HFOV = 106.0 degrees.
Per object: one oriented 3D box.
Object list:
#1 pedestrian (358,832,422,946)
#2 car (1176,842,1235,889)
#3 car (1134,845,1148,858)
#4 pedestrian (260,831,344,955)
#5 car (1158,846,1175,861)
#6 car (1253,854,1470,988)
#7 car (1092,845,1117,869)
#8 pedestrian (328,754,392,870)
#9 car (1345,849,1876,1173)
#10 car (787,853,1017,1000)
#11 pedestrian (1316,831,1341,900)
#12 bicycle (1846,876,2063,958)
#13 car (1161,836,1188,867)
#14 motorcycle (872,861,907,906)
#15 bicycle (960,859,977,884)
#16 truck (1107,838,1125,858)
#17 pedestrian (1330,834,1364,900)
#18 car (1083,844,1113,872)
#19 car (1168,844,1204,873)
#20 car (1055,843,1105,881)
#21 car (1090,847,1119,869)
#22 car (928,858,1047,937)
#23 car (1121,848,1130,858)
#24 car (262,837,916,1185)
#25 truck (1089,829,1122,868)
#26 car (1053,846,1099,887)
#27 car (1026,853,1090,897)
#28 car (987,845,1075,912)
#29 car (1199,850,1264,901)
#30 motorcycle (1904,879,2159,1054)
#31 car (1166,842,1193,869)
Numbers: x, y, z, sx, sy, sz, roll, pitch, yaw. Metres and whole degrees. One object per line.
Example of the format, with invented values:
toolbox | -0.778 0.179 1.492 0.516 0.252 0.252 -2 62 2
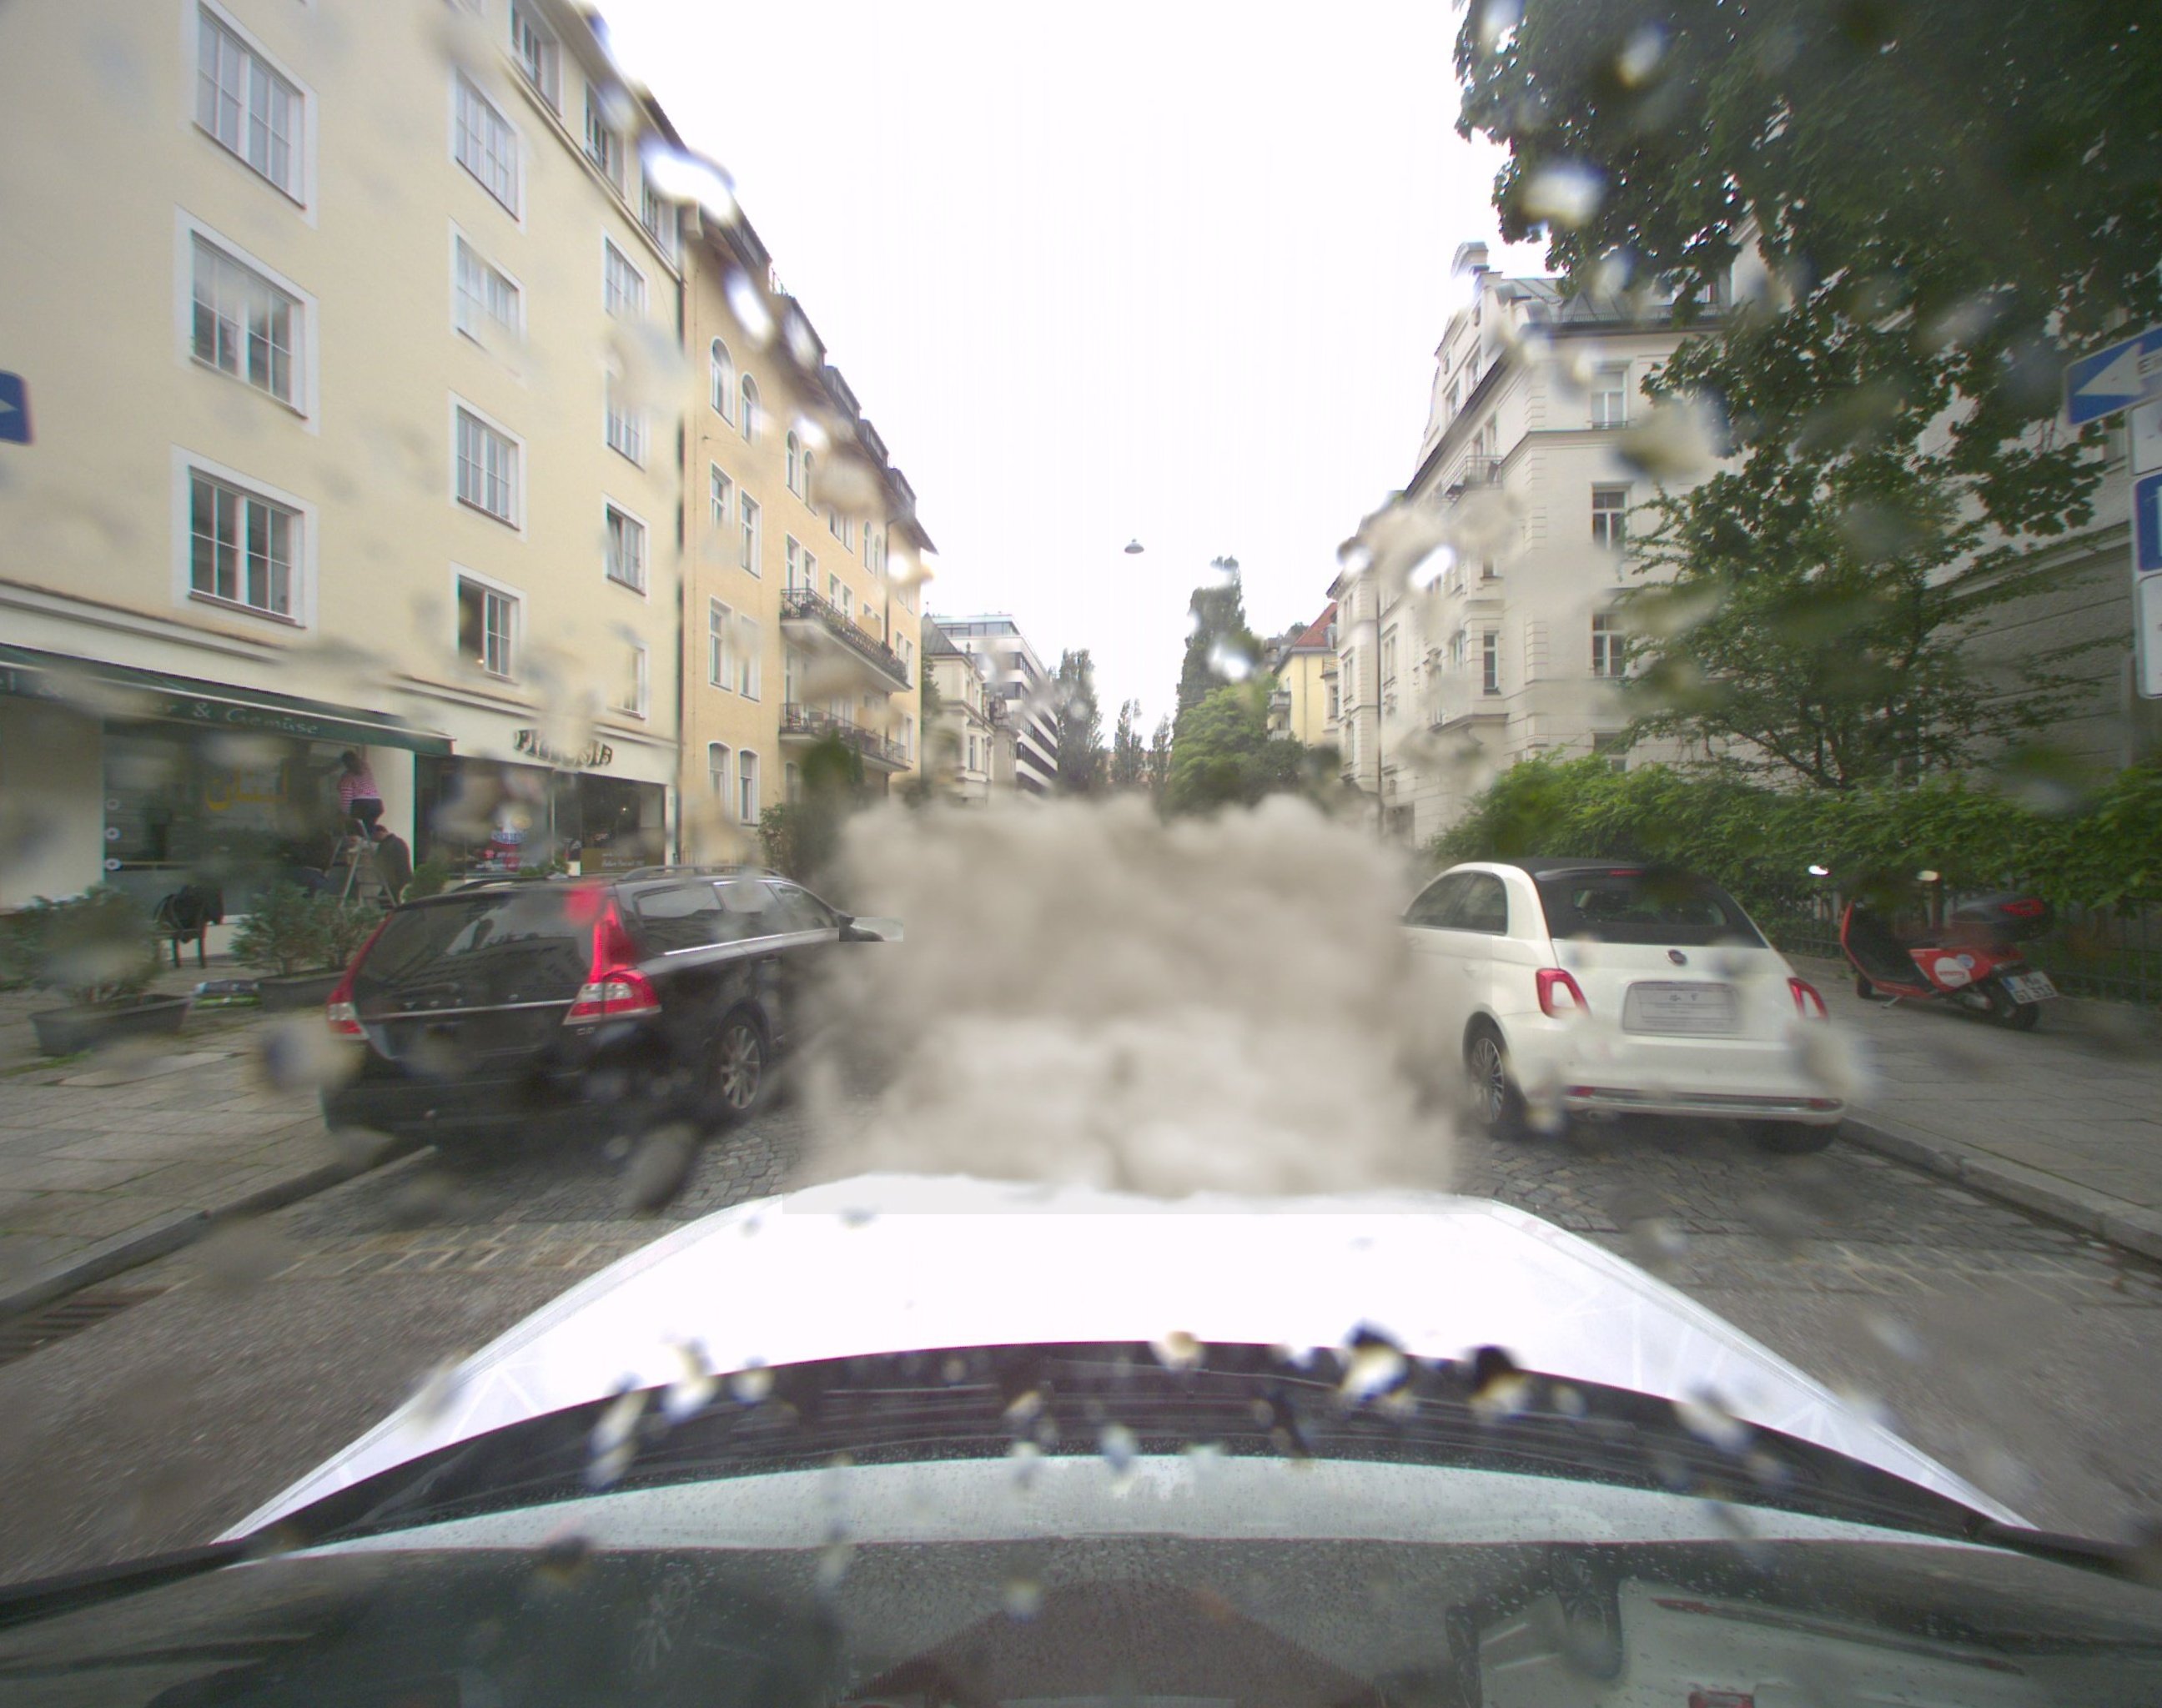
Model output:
pedestrian | -10.459 0.520 12.337 0.459 1.690 0.575 0 0 4
car | 4.721 0.466 31.493 1.866 1.673 5.497 0 -1 5
car | 8.858 -0.325 120.202 1.987 1.936 4.006 0 0 5
pedestrian | -10.632 0.517 11.129 0.519 1.642 0.630 0 0 4
car | 8.691 -0.034 82.752 1.593 1.486 3.482 0 0 4
car | 3.648 0.757 11.503 1.641 1.422 4.636 3 0 3
car | 1.845 0.209 63.337 1.886 1.751 4.171 -1 0 2
pedestrian | -10.383 -0.589 11.737 0.474 1.642 0.498 0 0 8
car | 3.039 0.723 5.654 1.494 1.471 3.801 -1 0 5
car | -2.126 0.790 11.090 1.766 1.536 4.546 -2 0 4
pedestrian | 6.769 0.307 22.282 0.572 1.850 0.684 -1 0 11
bicycle | 10.469 0.710 9.902 0.488 0.812 2.279 0 0 8
car | 8.057 -0.274 70.328 1.887 2.426 5.617 3 1 3
motorcycle | -5.292 0.802 22.618 0.489 1.194 1.581 -1 0 4
bicycle | -4.697 0.729 34.080 0.350 1.003 1.575 0 0 6
truck | 4.213 -0.761 98.196 1.984 2.346 4.073 0 0 4
pedestrian | 7.431 0.348 22.759 0.630 1.808 0.656 0 0 -19
car | 1.170 0.264 52.842 1.766 1.717 4.395 0 0 3
car | 6.574 0.265 51.620 1.954 1.759 4.959 0 0 4
car | 0.026 0.348 39.644 1.973 1.737 4.729 0 1 5
car | 1.714 0.280 58.107 1.932 1.459 4.061 0 0 3
car | -1.716 0.763 16.326 1.767 1.359 4.392 0 0 1
car | 6.760 -0.188 124.000 1.271 1.541 3.122 0 0 4
car | -2.752 0.716 6.114 1.844 1.586 4.751 0 0 3
truck | 2.141 -0.511 69.458 2.498 3.031 6.390 -2 1 3
car | -0.156 0.501 34.606 1.572 1.590 4.061 -2 0 4
car | -0.711 0.674 28.363 1.765 1.429 4.396 0 0 4
car | -1.255 0.595 22.246 1.765 1.647 4.397 0 0 5
car | 4.755 0.630 26.106 1.623 1.469 3.663 2 0 4
motorcycle | 6.871 0.748 5.982 0.360 1.090 1.406 0 0 7
car | 7.757 0.097 64.694 1.792 1.949 4.865 2 0 4
